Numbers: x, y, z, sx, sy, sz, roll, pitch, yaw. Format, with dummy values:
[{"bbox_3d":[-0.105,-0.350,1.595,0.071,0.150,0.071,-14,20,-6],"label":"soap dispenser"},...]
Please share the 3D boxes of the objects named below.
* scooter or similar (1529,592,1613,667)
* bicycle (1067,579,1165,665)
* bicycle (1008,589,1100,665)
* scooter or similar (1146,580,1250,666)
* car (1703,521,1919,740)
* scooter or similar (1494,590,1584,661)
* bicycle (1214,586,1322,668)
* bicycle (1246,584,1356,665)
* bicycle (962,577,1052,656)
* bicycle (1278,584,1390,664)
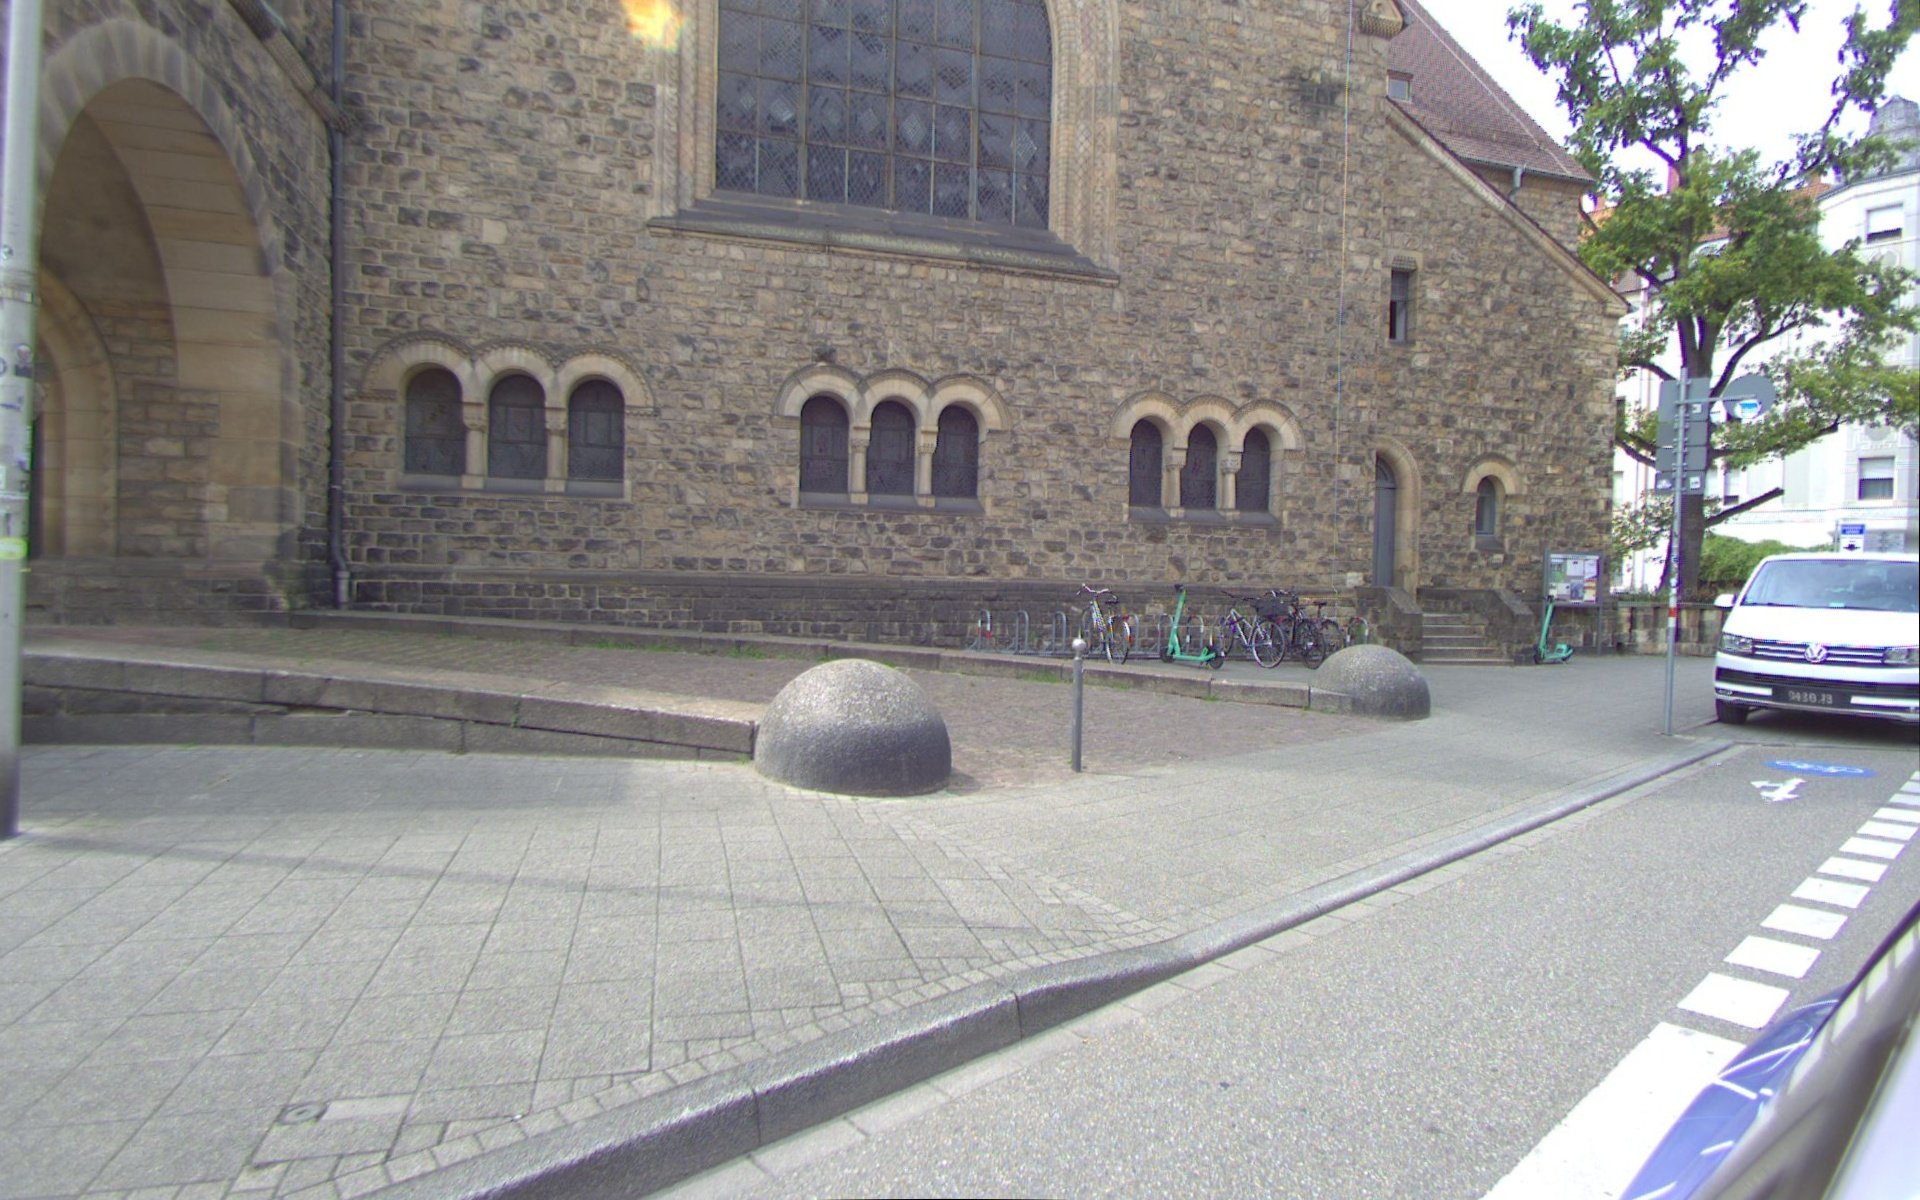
[{"bbox_3d":[10.433,0.491,17.276,1.413,1.222,0.547,1,1,-27],"label":"scooter or similar"},{"bbox_3d":[2.217,0.287,14.614,0.534,1.125,1.786,1,1,-21],"label":"bicycle"},{"bbox_3d":[1.302,0.349,14.402,0.534,0.969,1.786,1,1,-21],"label":"bicycle"},{"bbox_3d":[3.462,0.312,14.854,0.534,1.154,1.786,1,1,-21],"label":"scooter or similar"},{"bbox_3d":[10.464,0.254,11.669,5.035,2.054,2.018,0,3,-42],"label":"car"},{"bbox_3d":[10.261,0.450,17.938,1.450,1.222,0.547,1,1,-21],"label":"scooter or similar"},{"bbox_3d":[4.582,0.372,15.202,0.534,1.125,1.786,1,1,-21],"label":"bicycle"},{"bbox_3d":[5.154,0.338,15.401,0.534,1.125,1.779,1,1,-21],"label":"bicycle"},{"bbox_3d":[0.626,0.201,14.191,0.534,0.969,1.787,1,3,-21],"label":"bicycle"},{"bbox_3d":[5.742,0.346,15.647,0.534,1.125,1.786,1,1,-21],"label":"bicycle"}]
